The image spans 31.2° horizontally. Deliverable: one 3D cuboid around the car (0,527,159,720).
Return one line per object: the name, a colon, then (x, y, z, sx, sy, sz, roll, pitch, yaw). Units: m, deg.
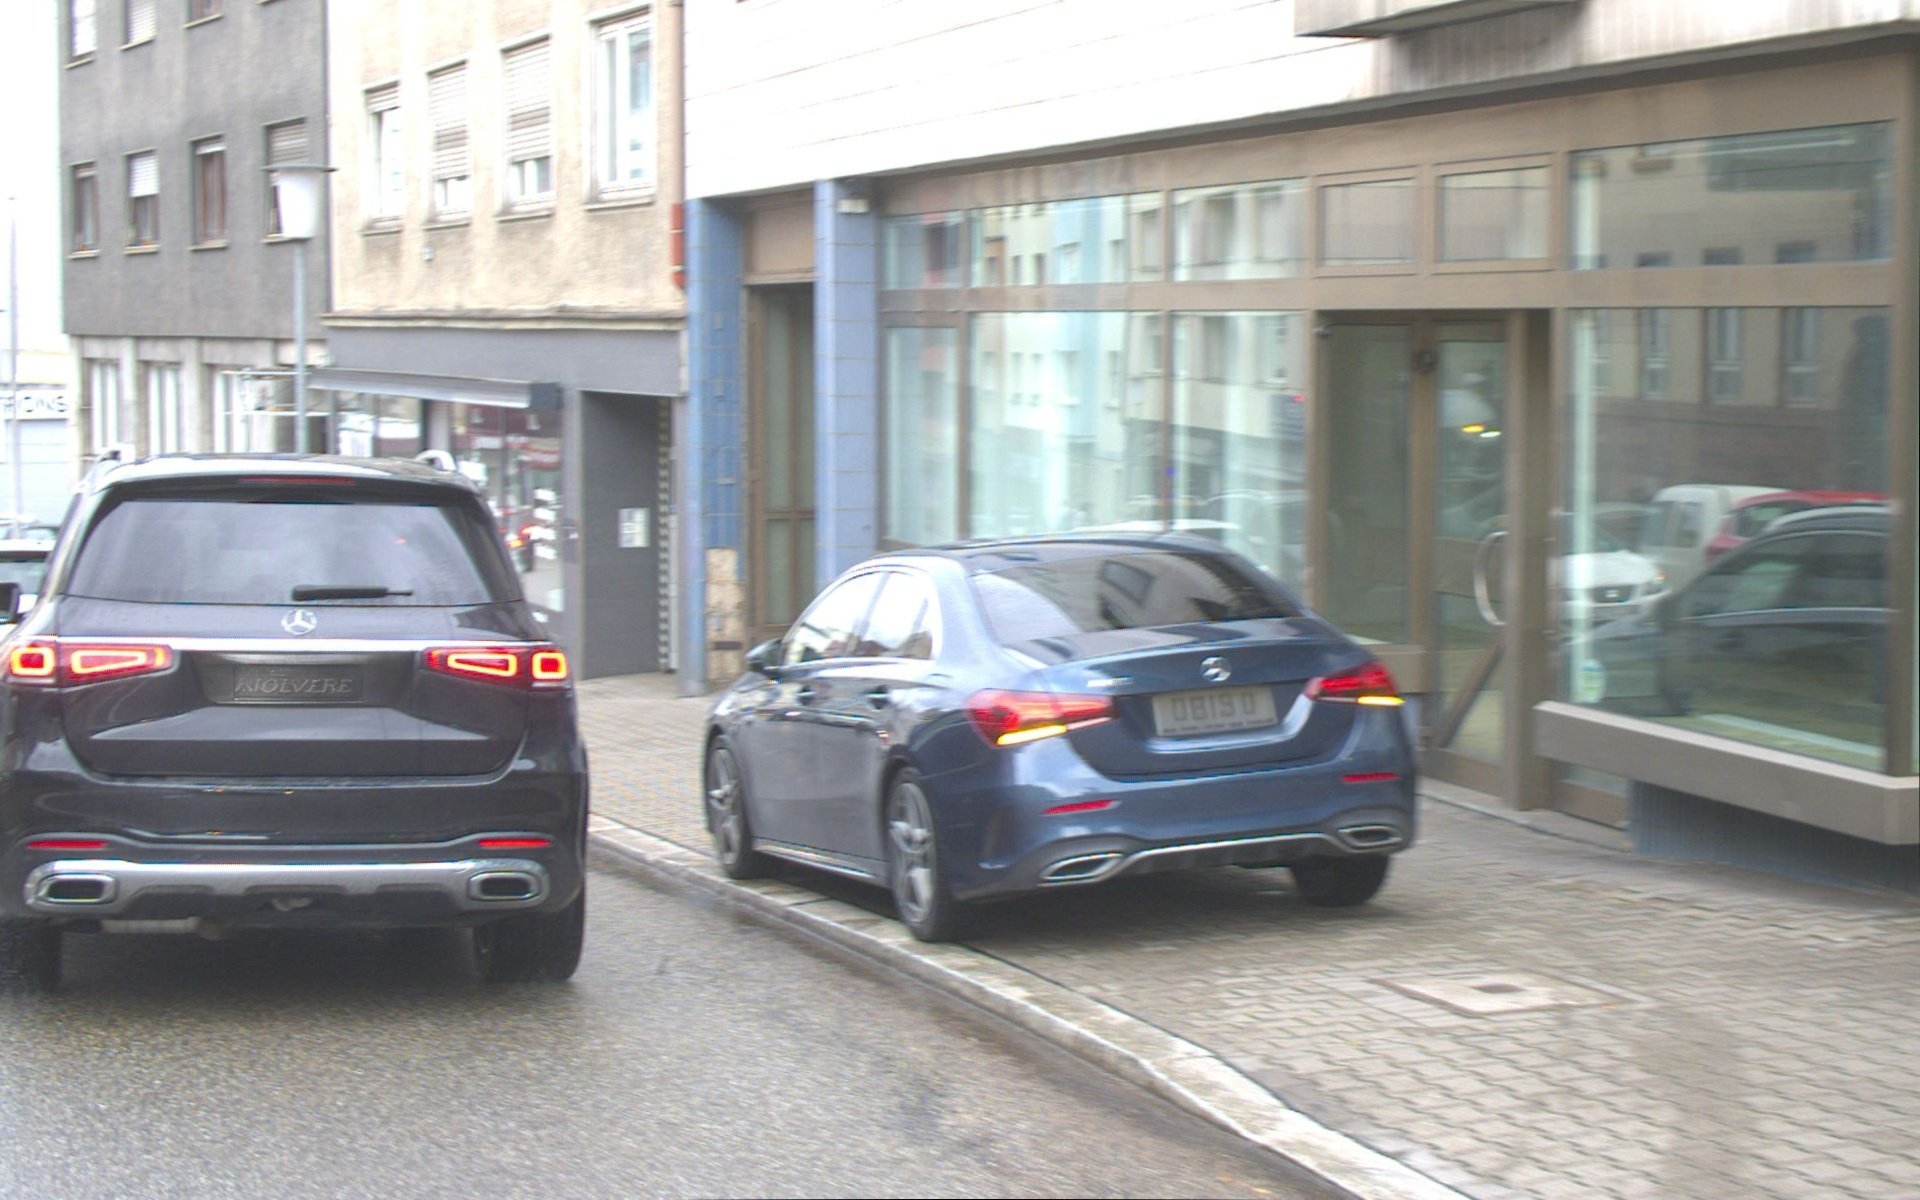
car: (-8.094, 0.175, 29.237, 1.830, 1.456, 4.380, -4, 2, -21)

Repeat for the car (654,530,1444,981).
car: (0.143, 0.473, 13.591, 1.763, 1.387, 4.380, -3, 2, -17)

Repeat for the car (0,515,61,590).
car: (-19.415, -0.976, 69.534, 1.565, 1.472, 4.070, 0, 1, -27)

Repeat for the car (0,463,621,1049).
car: (-2.681, 0.404, 12.678, 2.020, 1.733, 4.749, 0, 1, -16)

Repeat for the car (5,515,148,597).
car: (-16.674, -0.848, 64.748, 1.796, 1.472, 4.486, 0, 1, -25)

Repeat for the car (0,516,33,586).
car: (-21.799, -1.043, 72.582, 1.732, 1.489, 3.989, 0, 0, 45)

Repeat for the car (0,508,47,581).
car: (-22.291, -1.234, 75.474, 1.798, 1.592, 3.989, 0, 0, 45)

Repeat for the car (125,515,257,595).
car: (-14.774, -0.896, 65.916, 1.796, 1.472, 4.486, 0, 2, -22)
